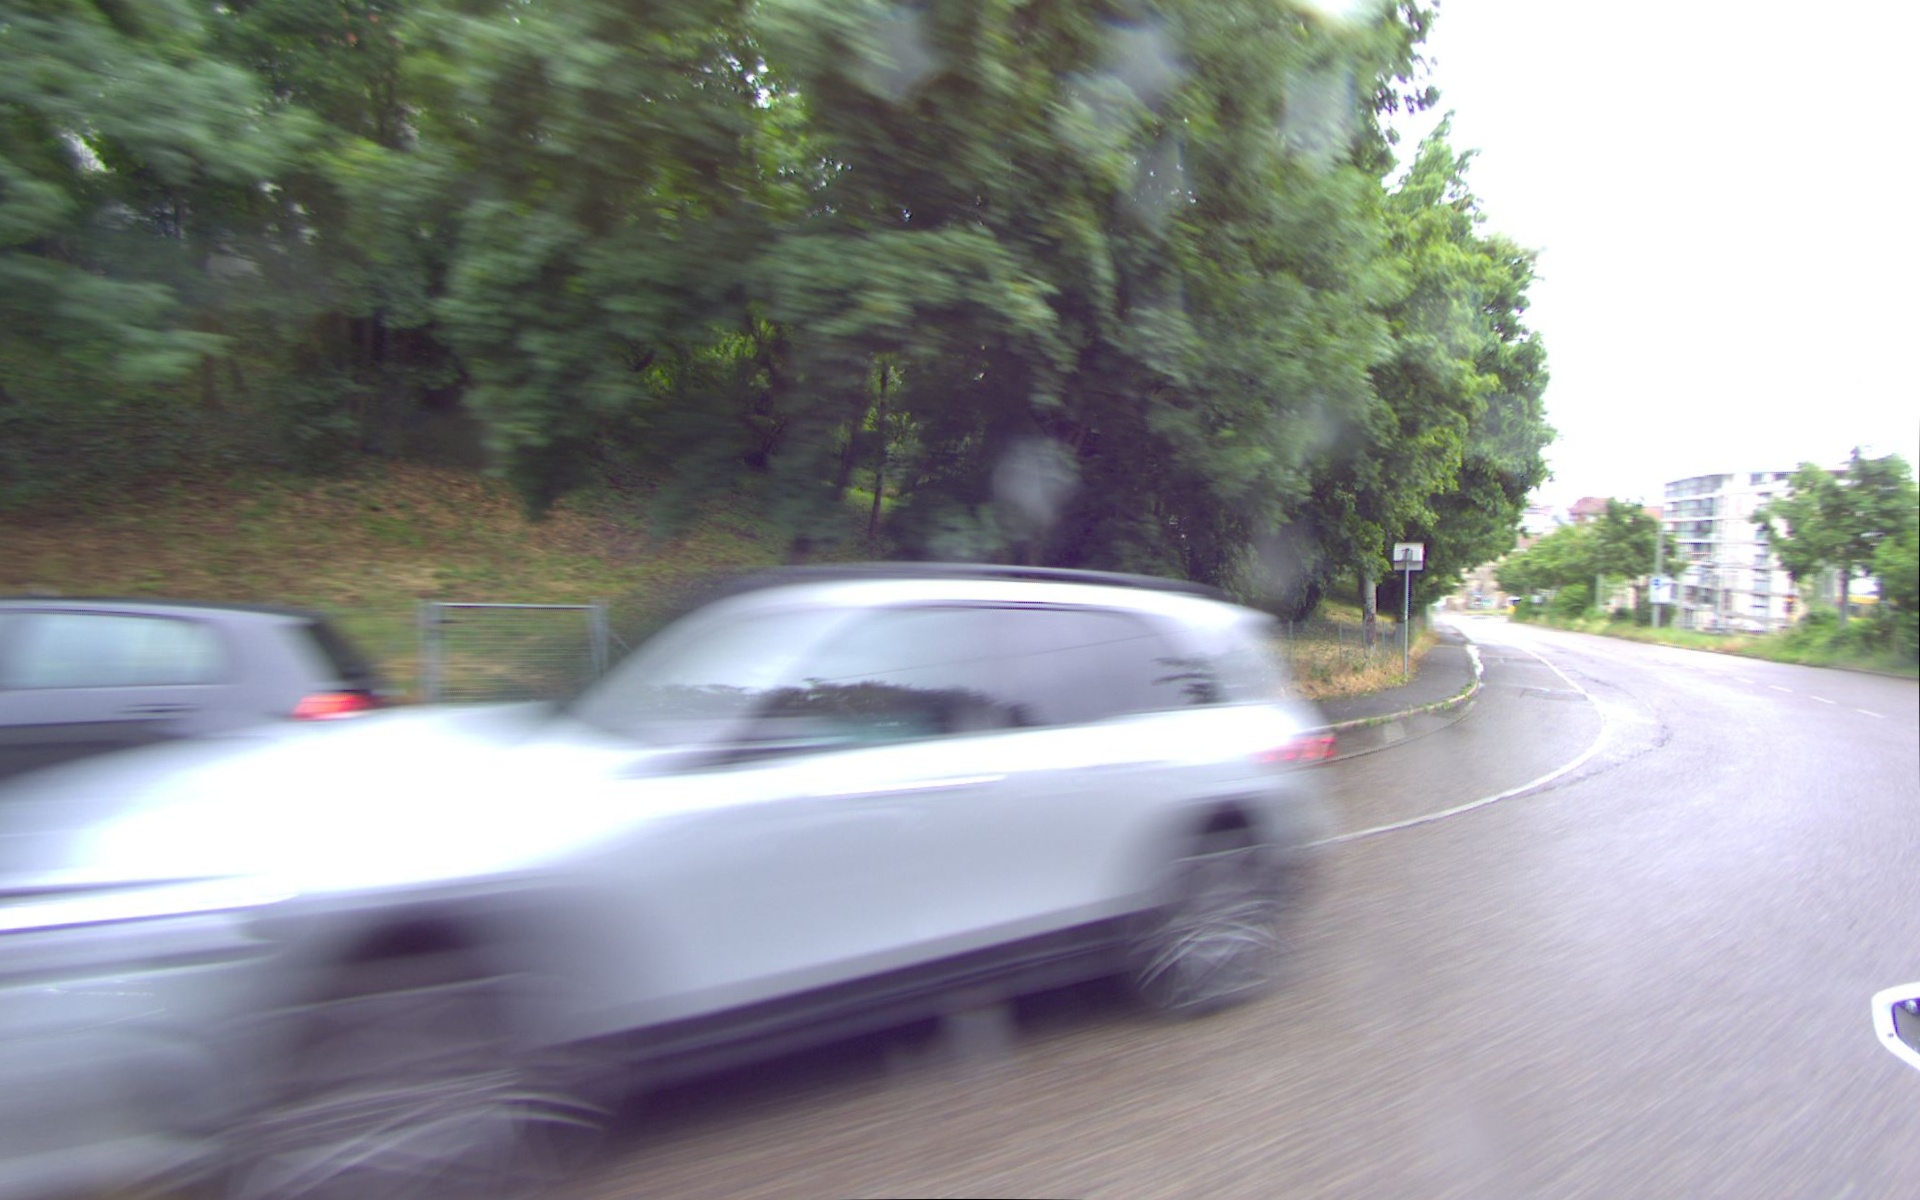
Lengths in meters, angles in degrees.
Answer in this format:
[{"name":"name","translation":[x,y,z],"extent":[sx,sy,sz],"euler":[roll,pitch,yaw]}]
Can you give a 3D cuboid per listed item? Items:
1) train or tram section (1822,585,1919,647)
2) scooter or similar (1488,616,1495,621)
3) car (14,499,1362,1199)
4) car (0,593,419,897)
[{"name":"train or tram section","translation":[66.046,1.142,70.400],"extent":[3.278,4.000,18.798],"euler":[2,0,24]},{"name":"scooter or similar","translation":[89.769,3.095,169.666],"extent":[1.318,0.771,0.481],"euler":[1,0,-38]},{"name":"car","translation":[-0.507,0.719,3.832],"extent":[4.267,1.691,1.805],"euler":[2,-1,-36]},{"name":"car","translation":[-5.362,0.710,5.611],"extent":[3.962,1.462,1.767],"euler":[2,0,-26]}]
